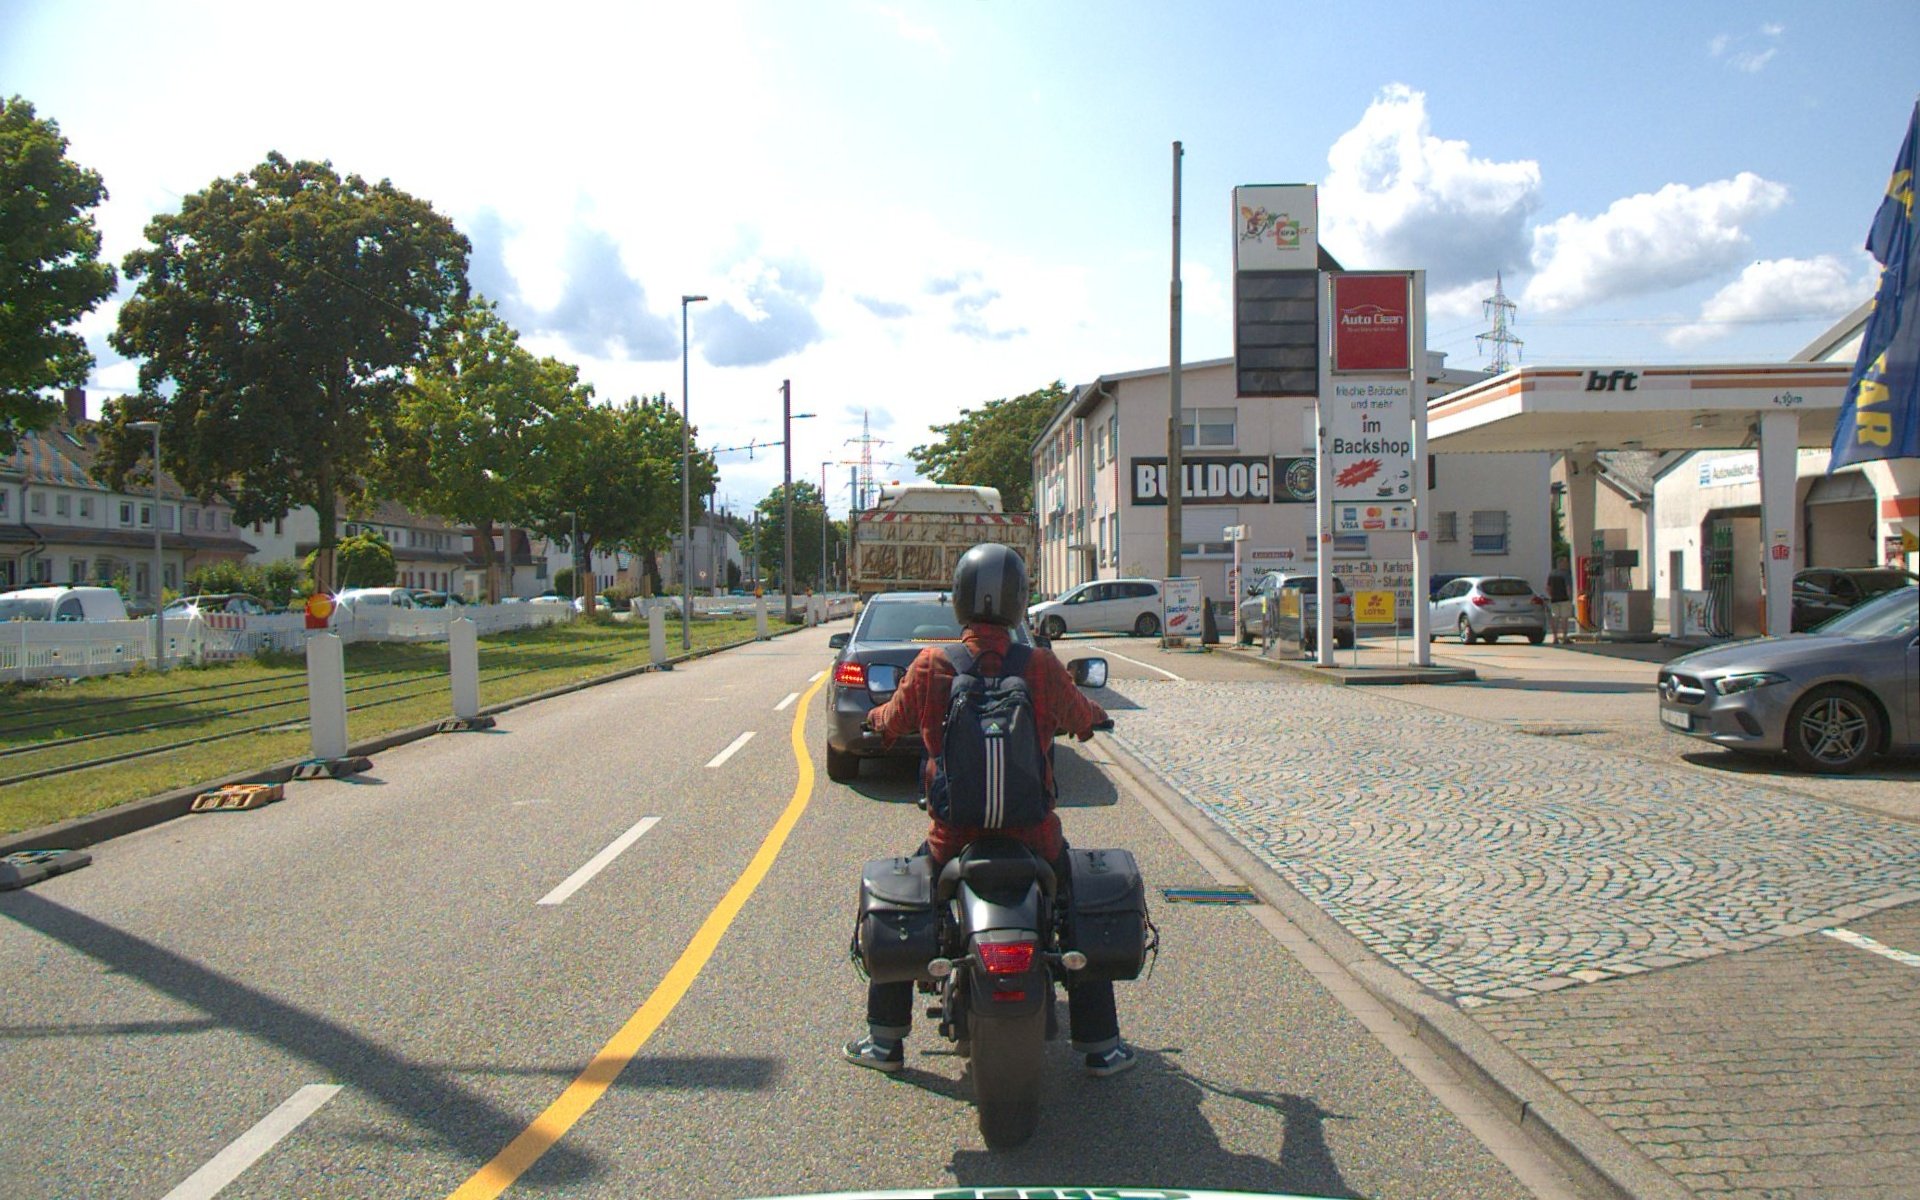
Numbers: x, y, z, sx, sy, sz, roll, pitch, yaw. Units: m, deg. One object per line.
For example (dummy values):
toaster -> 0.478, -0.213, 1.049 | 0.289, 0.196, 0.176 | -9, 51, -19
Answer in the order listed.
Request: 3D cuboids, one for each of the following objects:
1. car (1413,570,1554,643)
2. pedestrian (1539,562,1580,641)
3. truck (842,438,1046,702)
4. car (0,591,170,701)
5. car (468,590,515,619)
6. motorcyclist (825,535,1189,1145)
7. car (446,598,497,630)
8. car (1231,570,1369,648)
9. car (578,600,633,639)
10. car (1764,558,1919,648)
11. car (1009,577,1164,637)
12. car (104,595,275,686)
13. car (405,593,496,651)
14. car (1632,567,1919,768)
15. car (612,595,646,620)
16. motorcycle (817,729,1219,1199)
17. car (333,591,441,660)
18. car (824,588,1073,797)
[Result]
car -> 11.723, 0.118, 37.269 | 1.770, 1.529, 3.831 | -1, 0, -3
pedestrian -> 12.955, 0.029, 35.715 | 0.696, 1.685, 0.546 | -1, 0, 35
truck -> -0.262, -0.423, 25.369 | 2.585, 3.354, 8.055 | -1, 0, -1
car -> -16.431, 0.785, 30.393 | 1.740, 1.853, 4.363 | -1, 0, -1
car -> -29.421, 0.273, 103.957 | 1.740, 1.753, 4.127 | -1, 0, -1
motorcyclist -> 0.121, 0.644, 5.021 | 0.959, 1.630, 1.087 | -1, 0, -1
car -> -28.295, 0.777, 95.839 | 1.740, 1.753, 4.127 | -1, 0, -1
car -> 7.459, 0.175, 36.634 | 1.636, 1.589, 4.236 | -1, 0, -8
car -> -17.052, 0.908, 79.689 | 1.740, 1.753, 4.127 | -1, 0, -1
car -> 16.619, 0.024, 30.324 | 1.770, 1.529, 3.832 | -1, 0, -3
car -> 3.577, 0.183, 47.085 | 4.152, 1.570, 1.669 | -1, 0, -9
car -> -16.672, 0.817, 36.030 | 1.740, 1.805, 4.227 | -1, 0, -1
car -> -16.970, 0.700, 55.265 | 1.740, 1.837, 4.127 | -1, 0, -1
car -> 7.641, 0.459, 12.803 | 4.183, 1.440, 1.675 | -1, 0, 3
car -> -24.958, 0.544, 124.857 | 1.740, 1.753, 4.127 | -1, 0, -1
motorcycle -> 0.123, 0.998, 5.327 | 0.959, 0.913, 2.653 | -1, 0, -1
car -> -16.938, 0.716, 49.087 | 1.740, 1.900, 4.127 | -1, 0, -1
car -> -0.109, 0.659, 14.017 | 1.786, 1.478, 3.999 | 1, 0, -1
